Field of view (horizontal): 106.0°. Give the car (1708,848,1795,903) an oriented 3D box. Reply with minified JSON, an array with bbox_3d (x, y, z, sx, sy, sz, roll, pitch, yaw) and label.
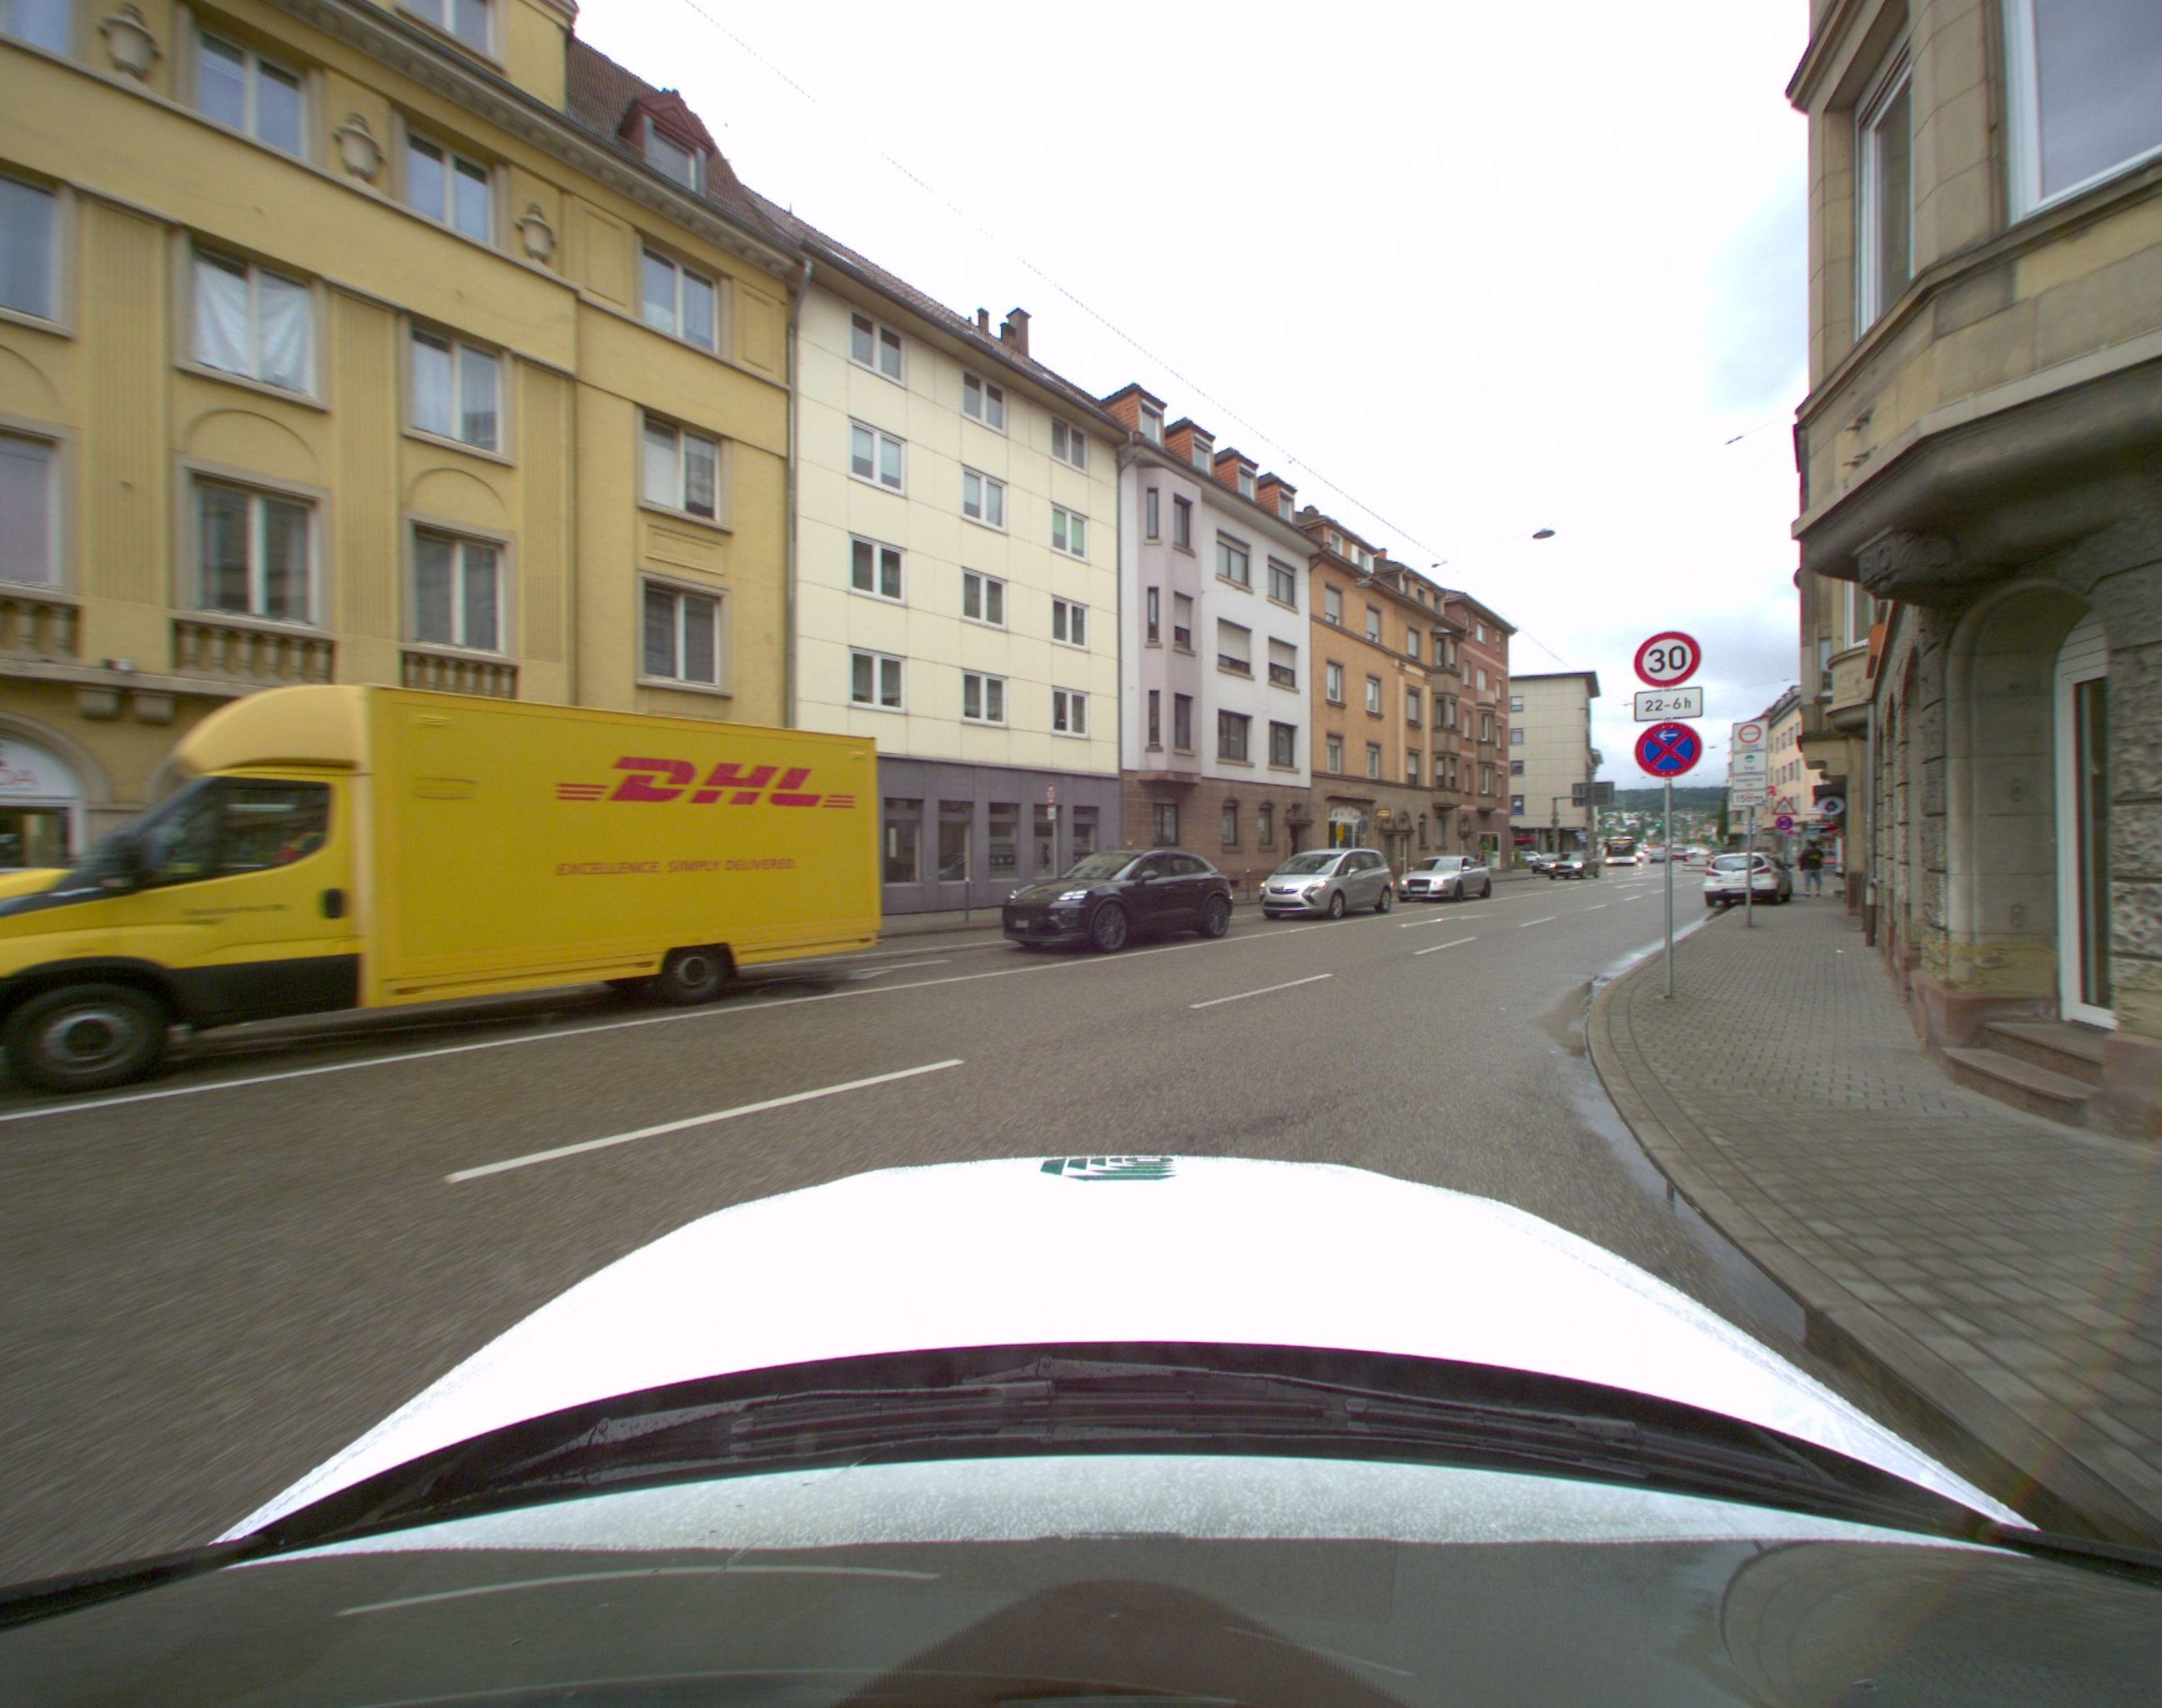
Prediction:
[{"bbox_3d":[20.183,0.606,24.434,1.632,1.494,4.474,-1,-1,44],"label":"car"}]

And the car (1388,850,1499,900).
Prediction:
[{"bbox_3d":[11.776,0.643,26.284,1.924,1.470,4.587,-1,-1,42],"label":"car"}]

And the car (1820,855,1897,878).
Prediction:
[{"bbox_3d":[55.589,0.892,58.303,3.788,1.574,1.949,-1,-1,37],"label":"car"}]

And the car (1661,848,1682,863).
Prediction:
[{"bbox_3d":[66.961,0.213,92.348,1.737,1.651,4.334,-1,-1,34],"label":"car"}]

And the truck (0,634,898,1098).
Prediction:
[{"bbox_3d":[-5.336,0.084,7.700,2.207,2.750,7.067,-1,-1,42],"label":"truck"}]

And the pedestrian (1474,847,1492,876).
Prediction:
[{"bbox_3d":[23.597,0.428,47.802,0.834,1.678,0.858,2,1,30],"label":"pedestrian"}]

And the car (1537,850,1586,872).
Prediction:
[{"bbox_3d":[33.051,0.456,55.979,1.833,1.397,4.821,4,3,43],"label":"car"}]

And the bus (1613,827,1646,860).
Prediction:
[{"bbox_3d":[56.871,-1.007,84.436,2.732,3.188,8.968,-1,-1,34],"label":"bus"}]

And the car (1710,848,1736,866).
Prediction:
[{"bbox_3d":[63.443,0.296,80.562,1.737,1.651,4.025,-1,-1,34],"label":"car"}]

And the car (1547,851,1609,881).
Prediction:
[{"bbox_3d":[28.328,0.675,46.350,4.362,1.595,1.963,0,-1,-44],"label":"car"}]

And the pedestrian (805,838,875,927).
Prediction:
[{"bbox_3d":[-5.069,0.578,17.150,0.885,1.770,1.039,4,2,41],"label":"pedestrian"}]

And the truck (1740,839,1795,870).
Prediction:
[{"bbox_3d":[48.677,0.046,57.850,2.376,2.129,5.348,-1,-1,34],"label":"truck"}]

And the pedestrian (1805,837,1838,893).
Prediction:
[{"bbox_3d":[23.836,0.347,26.229,0.737,1.779,0.800,-1,-1,41],"label":"pedestrian"}]

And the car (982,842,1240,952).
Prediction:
[{"bbox_3d":[0.686,0.625,14.048,1.924,1.583,4.633,-1,-1,42],"label":"car"}]

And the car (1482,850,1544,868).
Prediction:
[{"bbox_3d":[38.904,0.468,73.392,4.594,1.533,1.913,-1,-1,14],"label":"car"}]

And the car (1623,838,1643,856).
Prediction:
[{"bbox_3d":[75.812,-0.962,111.813,2.066,2.435,6.393,-1,-1,37],"label":"car"}]

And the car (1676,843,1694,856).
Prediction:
[{"bbox_3d":[80.416,-0.594,108.395,1.737,1.651,4.025,-1,-1,34],"label":"car"}]

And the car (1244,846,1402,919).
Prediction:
[{"bbox_3d":[6.017,0.634,19.944,1.924,1.583,4.548,-1,-1,42],"label":"car"}]
